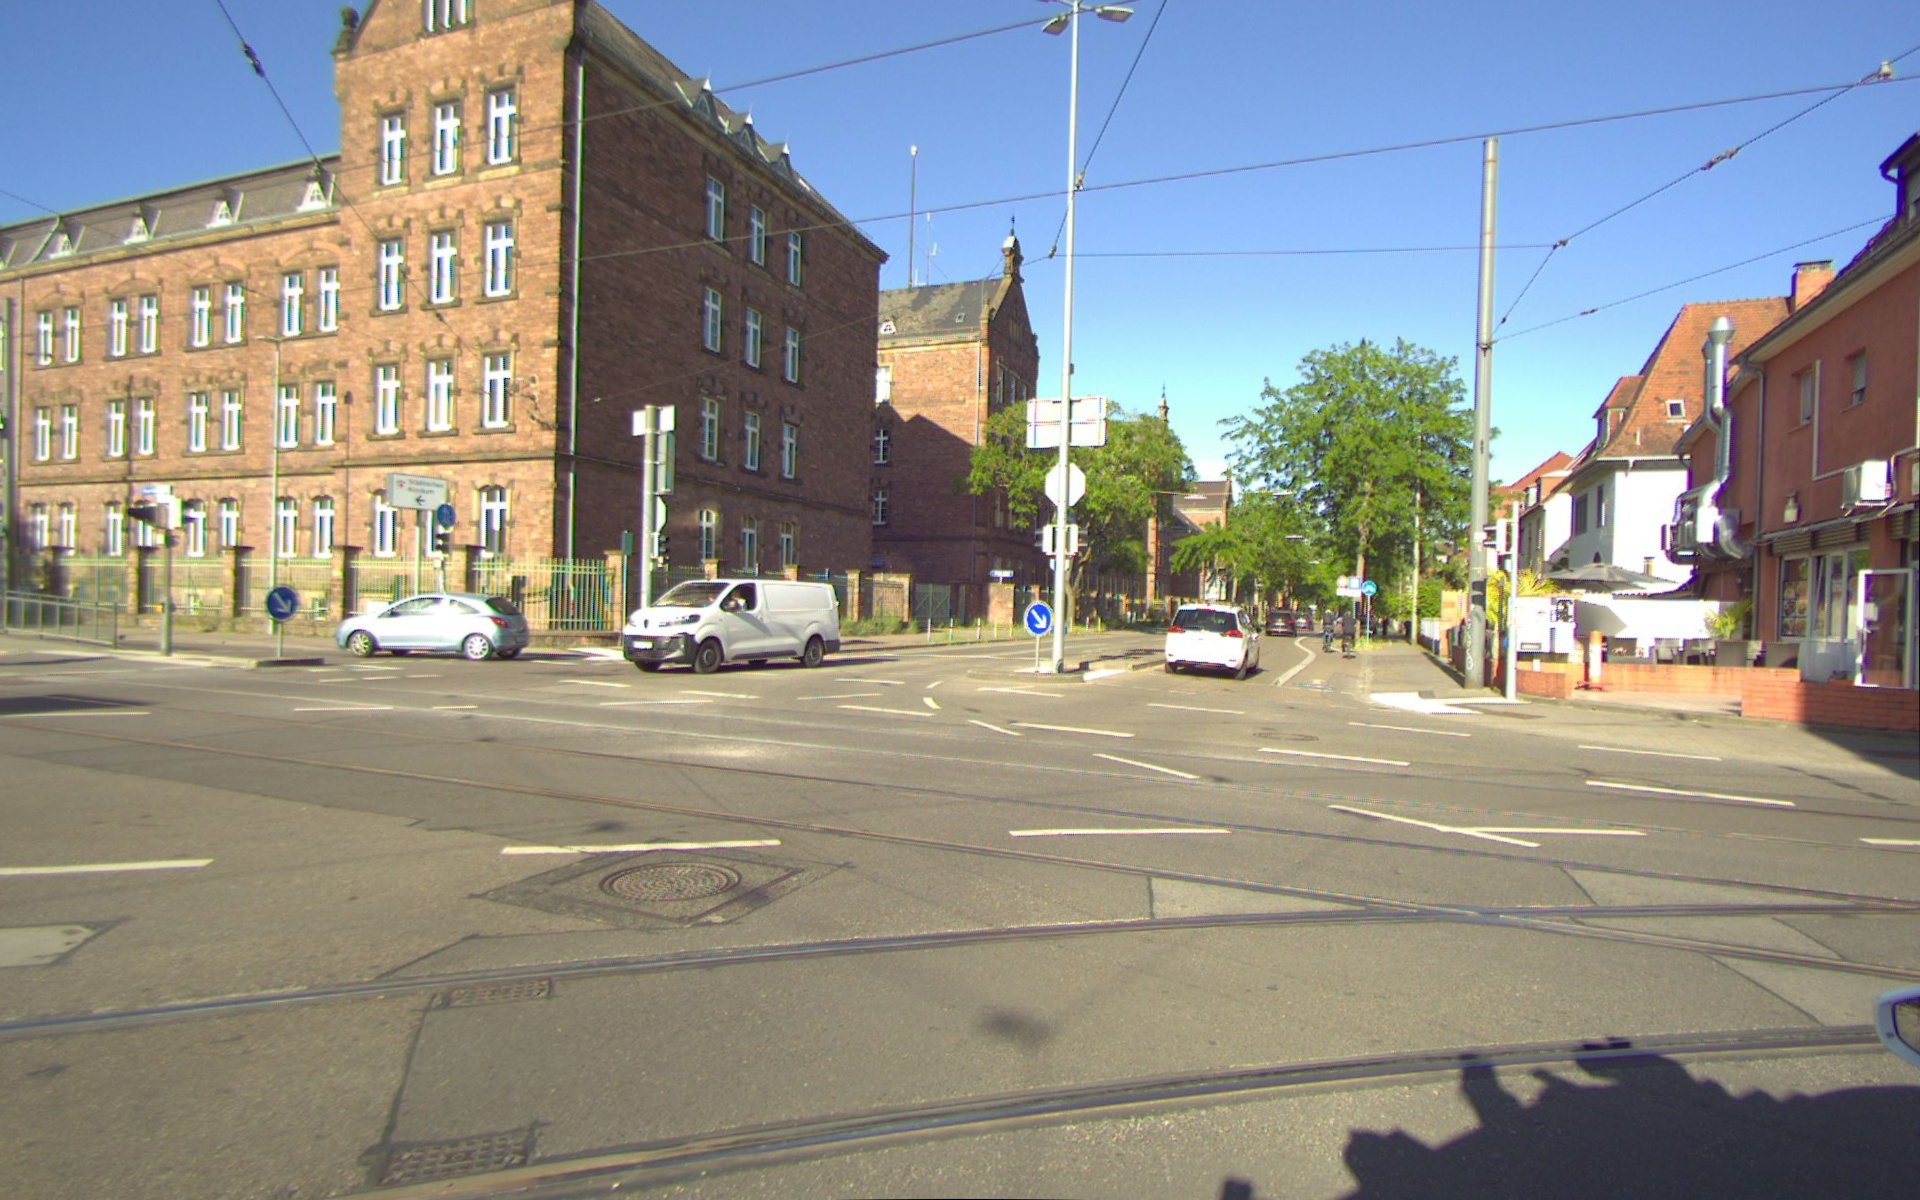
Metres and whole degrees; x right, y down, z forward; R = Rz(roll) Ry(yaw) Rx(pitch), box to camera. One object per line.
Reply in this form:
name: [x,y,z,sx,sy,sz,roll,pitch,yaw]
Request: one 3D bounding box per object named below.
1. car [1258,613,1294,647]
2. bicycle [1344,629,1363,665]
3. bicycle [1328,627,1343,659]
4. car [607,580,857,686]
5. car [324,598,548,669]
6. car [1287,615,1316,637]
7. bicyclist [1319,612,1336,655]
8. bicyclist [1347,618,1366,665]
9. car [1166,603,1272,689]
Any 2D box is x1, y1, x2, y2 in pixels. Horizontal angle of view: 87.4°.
car: [20.324,1.893,64.512,1.958,1.874,4.250,4,2,18]
bicycle: [14.282,1.672,36.444,0.549,1.205,1.995,2,1,22]
bicycle: [15.242,1.726,40.751,0.463,1.205,1.995,2,0,22]
car: [-4.626,0.651,21.340,2.127,1.954,5.291,1,-1,31]
car: [-11.584,0.726,22.415,4.036,1.462,1.741,1,0,-4]
car: [30.234,2.296,88.906,1.960,1.687,4.121,5,2,23]
bicyclist: [14.961,1.356,40.914,0.598,1.678,0.795,2,1,21]
bicyclist: [14.409,1.499,36.497,0.545,1.639,0.686,2,2,23]
car: [6.269,1.004,23.959,1.931,1.687,4.249,4,2,20]
